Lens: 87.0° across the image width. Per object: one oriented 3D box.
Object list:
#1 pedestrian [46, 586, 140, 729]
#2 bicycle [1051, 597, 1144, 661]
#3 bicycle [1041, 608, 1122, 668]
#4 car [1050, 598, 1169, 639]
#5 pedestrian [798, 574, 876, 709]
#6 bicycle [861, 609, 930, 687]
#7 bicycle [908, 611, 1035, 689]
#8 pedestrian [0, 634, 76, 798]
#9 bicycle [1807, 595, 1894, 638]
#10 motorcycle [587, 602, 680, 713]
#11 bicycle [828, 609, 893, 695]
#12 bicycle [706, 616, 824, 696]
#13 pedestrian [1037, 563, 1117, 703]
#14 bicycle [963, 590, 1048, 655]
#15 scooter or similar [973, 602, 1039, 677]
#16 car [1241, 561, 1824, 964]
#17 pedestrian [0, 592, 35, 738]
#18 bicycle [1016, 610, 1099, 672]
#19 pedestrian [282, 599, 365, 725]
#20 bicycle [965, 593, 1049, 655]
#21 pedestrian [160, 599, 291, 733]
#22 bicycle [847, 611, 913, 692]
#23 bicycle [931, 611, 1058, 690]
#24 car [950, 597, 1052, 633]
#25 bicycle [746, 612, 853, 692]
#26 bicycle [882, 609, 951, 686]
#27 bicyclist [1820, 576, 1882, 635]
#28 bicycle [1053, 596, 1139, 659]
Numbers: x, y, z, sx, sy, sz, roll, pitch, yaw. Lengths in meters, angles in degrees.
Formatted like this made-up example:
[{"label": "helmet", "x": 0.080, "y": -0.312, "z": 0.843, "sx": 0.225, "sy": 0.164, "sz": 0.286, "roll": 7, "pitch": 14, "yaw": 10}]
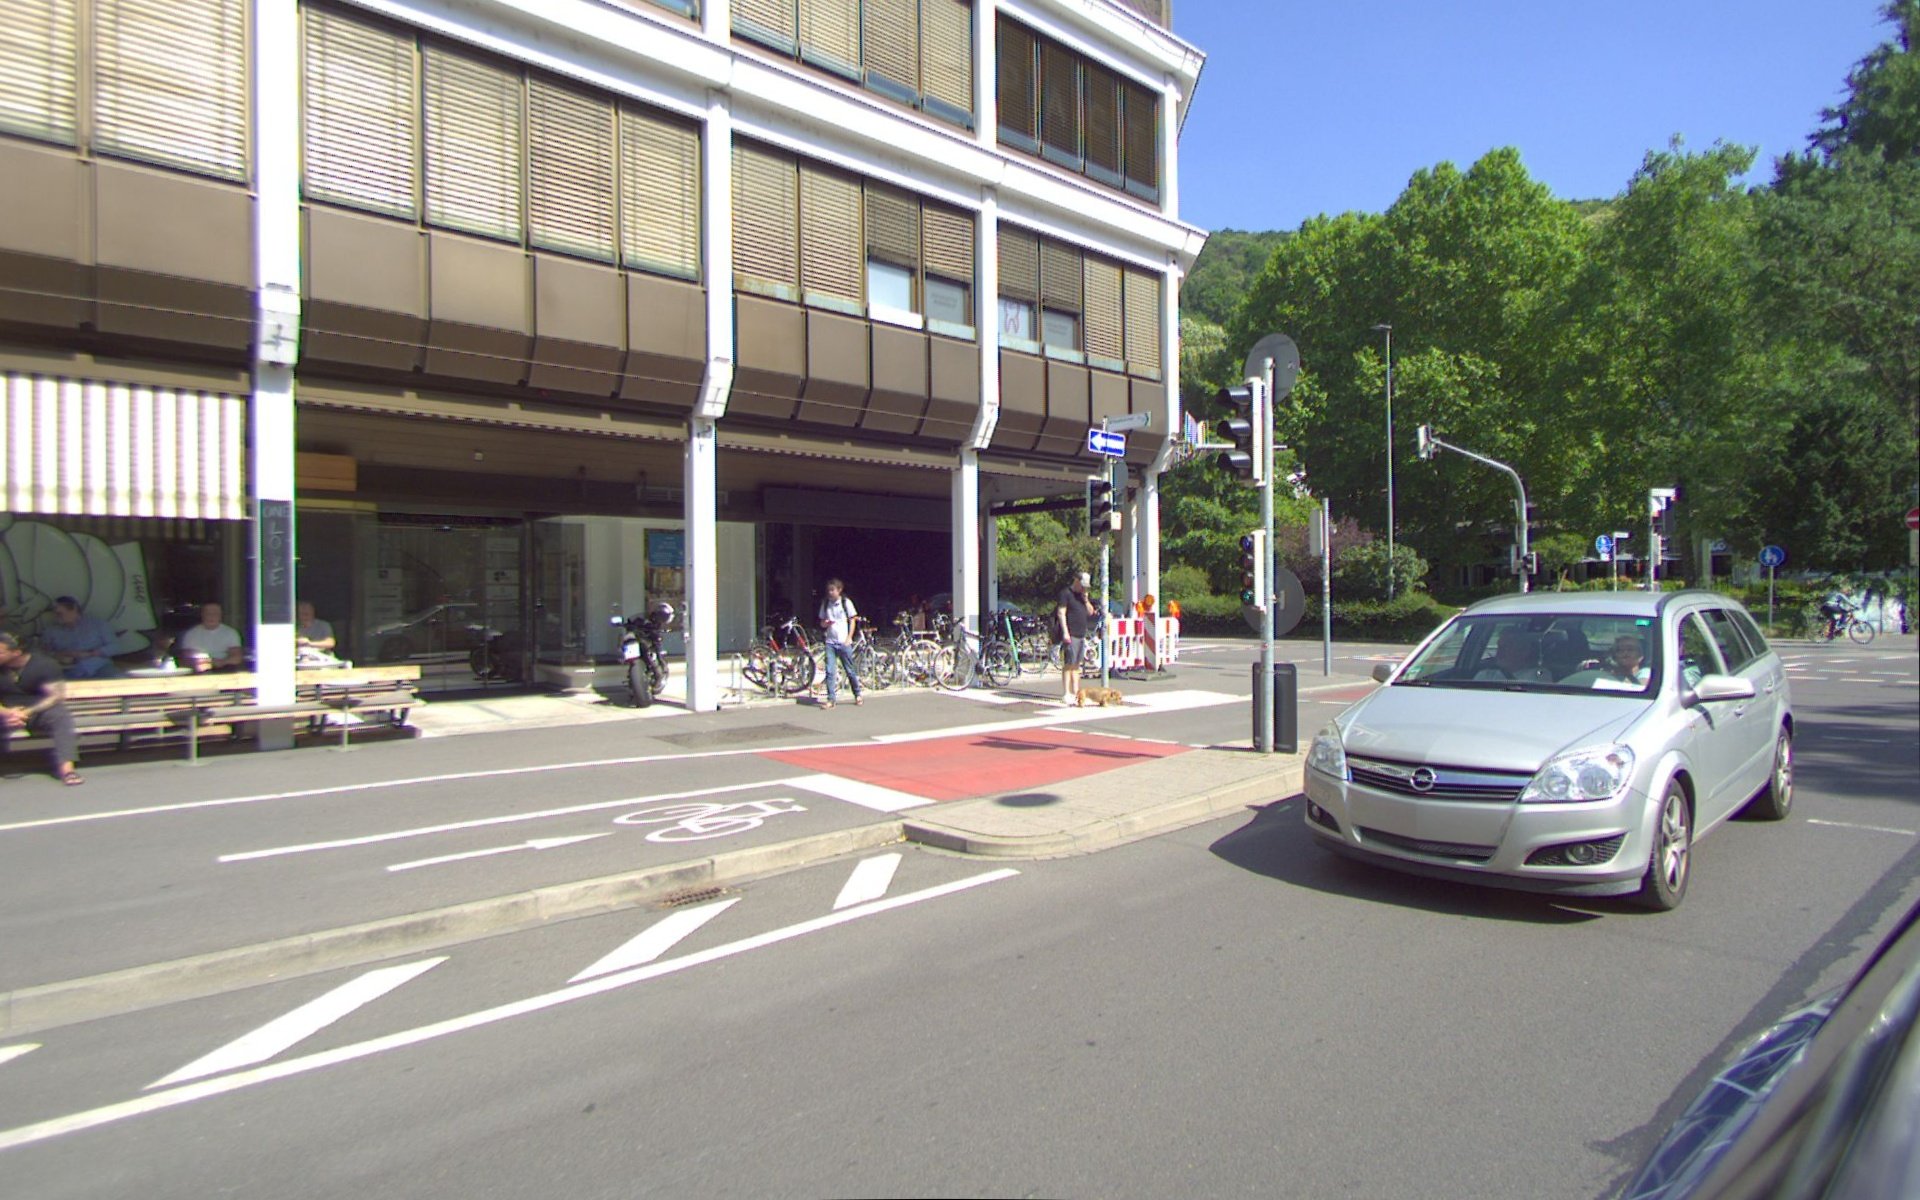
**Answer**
[{"label": "pedestrian", "x": -9.153, "y": 0.584, "z": 10.697, "sx": 0.685, "sy": 1.414, "sz": 0.712, "roll": -3, "pitch": 1, "yaw": -41}, {"label": "bicycle", "x": 2.923, "y": 0.607, "z": 21.525, "sx": 1.936, "sy": 1.333, "sz": 0.529, "roll": 0, "pitch": 0, "yaw": 12}, {"label": "bicycle", "x": 2.234, "y": 0.694, "z": 18.671, "sx": 1.442, "sy": 1.078, "sz": 0.309, "roll": -1, "pitch": 0, "yaw": -4}, {"label": "car", "x": 5.325, "y": 0.659, "z": 36.514, "sx": 1.826, "sy": 1.381, "sz": 4.091, "roll": 0, "pitch": -1, "yaw": -39}, {"label": "pedestrian", "x": -1.629, "y": 0.525, "z": 13.362, "sx": 0.683, "sy": 1.684, "sz": 0.836, "roll": -3, "pitch": 1, "yaw": -31}, {"label": "bicycle", "x": -1.037, "y": 0.727, "z": 15.951, "sx": 0.272, "sy": 1.134, "sz": 1.723, "roll": -1, "pitch": 1, "yaw": -33}, {"label": "bicycle", "x": 0.217, "y": 0.765, "z": 16.013, "sx": 2.199, "sy": 1.135, "sz": 0.278, "roll": -1, "pitch": -1, "yaw": -32}, {"label": "pedestrian", "x": -7.654, "y": 0.917, "z": 8.126, "sx": 0.683, "sy": 1.232, "sz": 0.714, "roll": -3, "pitch": 1, "yaw": -31}, {"label": "bicycle", "x": 25.065, "y": 0.470, "z": 28.519, "sx": 1.649, "sy": 1.134, "sz": 0.782, "roll": -2, "pitch": 0, "yaw": 8}, {"label": "motorcycle", "x": -4.363, "y": 0.711, "z": 13.691, "sx": 0.929, "sy": 1.306, "sz": 2.247, "roll": -2, "pitch": 1, "yaw": -12}, {"label": "bicycle", "x": -1.512, "y": 0.759, "z": 15.142, "sx": 0.272, "sy": 1.222, "sz": 1.551, "roll": -1, "pitch": -1, "yaw": -33}, {"label": "bicycle", "x": -2.895, "y": 0.804, "z": 14.840, "sx": 2.230, "sy": 1.111, "sz": 0.274, "roll": -2, "pitch": -1, "yaw": 37}, {"label": "pedestrian", "x": 1.625, "y": 0.440, "z": 14.115, "sx": 0.683, "sy": 1.858, "sz": 0.836, "roll": -3, "pitch": 1, "yaw": -31}, {"label": "bicycle", "x": 1.105, "y": 0.527, "z": 24.586, "sx": 1.937, "sy": 1.440, "sz": 0.529, "roll": 3, "pitch": 0, "yaw": 12}, {"label": "scooter or similar", "x": 0.784, "y": 0.667, "z": 17.645, "sx": 0.471, "sy": 1.248, "sz": 1.250, "roll": -1, "pitch": -1, "yaw": -33}, {"label": "car", "x": 3.617, "y": 0.606, "z": 5.979, "sx": 4.332, "sy": 1.541, "sz": 1.709, "roll": -1, "pitch": -1, "yaw": -42}, {"label": "pedestrian", "x": -9.737, "y": 0.651, "z": 10.107, "sx": 0.685, "sy": 1.414, "sz": 0.814, "roll": -2, "pitch": 0, "yaw": -42}, {"label": "bicycle", "x": 1.737, "y": 0.725, "z": 18.087, "sx": 1.446, "sy": 1.078, "sz": 0.376, "roll": 0, "pitch": 0, "yaw": 7}, {"label": "pedestrian", "x": -7.580, "y": 0.710, "z": 12.050, "sx": 0.685, "sy": 1.414, "sz": 0.712, "roll": -3, "pitch": 1, "yaw": -41}, {"label": "bicycle", "x": 1.118, "y": 0.574, "z": 23.977, "sx": 1.936, "sy": 1.440, "sz": 0.529, "roll": 0, "pitch": 0, "yaw": 12}, {"label": "pedestrian", "x": -8.285, "y": 0.705, "z": 11.421, "sx": 1.086, "sy": 1.367, "sz": 0.897, "roll": -3, "pitch": 1, "yaw": -41}, {"label": "bicycle", "x": -1.234, "y": 0.748, "z": 15.373, "sx": 0.272, "sy": 1.134, "sz": 1.576, "roll": -1, "pitch": 1, "yaw": -33}, {"label": "bicycle", "x": 0.565, "y": 0.760, "z": 15.810, "sx": 2.199, "sy": 1.135, "sz": 0.278, "roll": -1, "pitch": -1, "yaw": -32}, {"label": "car", "x": 1.615, "y": 0.609, "z": 40.736, "sx": 1.826, "sy": 1.381, "sz": 4.091, "roll": 0, "pitch": -1, "yaw": -40}, {"label": "bicycle", "x": -2.456, "y": 0.770, "z": 15.263, "sx": 2.235, "sy": 1.135, "sz": 0.273, "roll": -2, "pitch": -1, "yaw": 43}, {"label": "bicycle", "x": -0.715, "y": 0.731, "z": 16.171, "sx": 0.272, "sy": 1.134, "sz": 1.723, "roll": -1, "pitch": 1, "yaw": -33}, {"label": "bicyclist", "x": 25.030, "y": 0.141, "z": 28.454, "sx": 0.928, "sy": 1.594, "sz": 0.866, "roll": -2, "pitch": 0, "yaw": 9}, {"label": "bicycle", "x": 2.965, "y": 0.594, "z": 22.053, "sx": 1.830, "sy": 1.333, "sz": 0.529, "roll": 0, "pitch": 0, "yaw": 12}]
